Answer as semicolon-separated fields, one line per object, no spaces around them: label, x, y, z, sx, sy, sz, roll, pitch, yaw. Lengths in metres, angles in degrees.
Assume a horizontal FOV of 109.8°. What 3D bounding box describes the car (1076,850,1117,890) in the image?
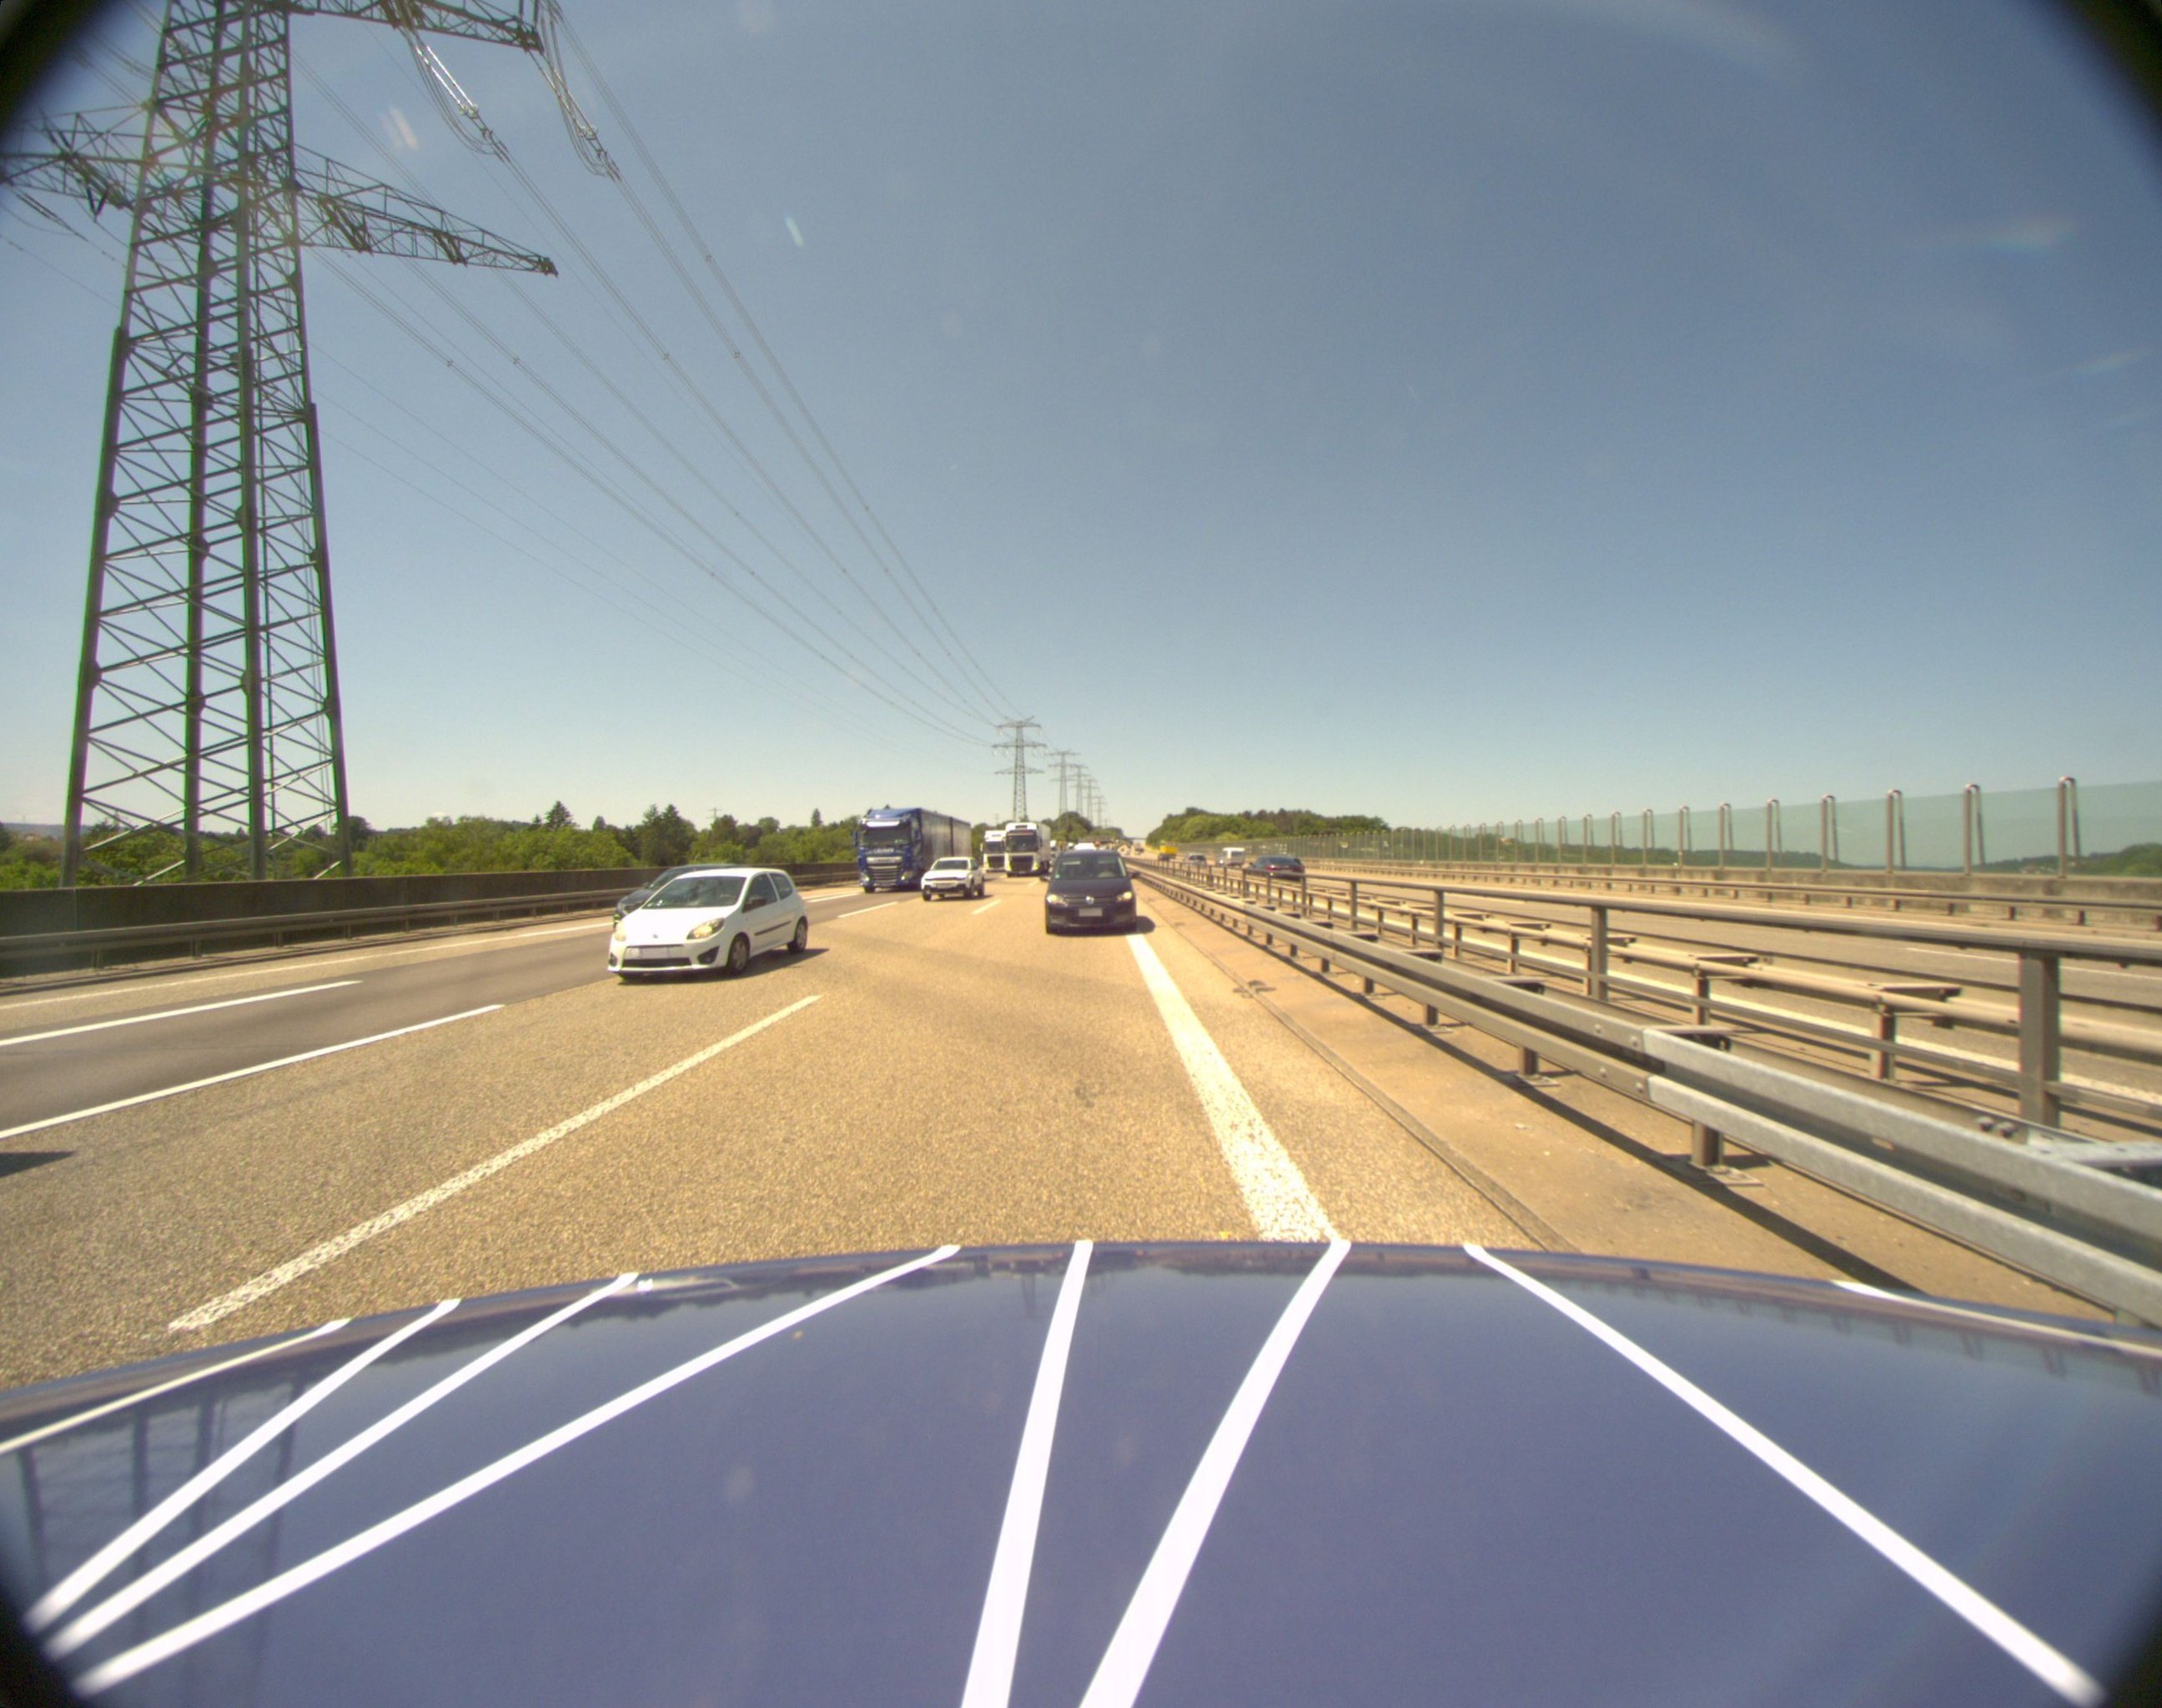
car;0.645;0.651;33.502;1.685;1.607;3.642;-2;0;0

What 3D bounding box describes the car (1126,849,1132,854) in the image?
car;15.254;-0.820;241.127;1.762;1.440;4.286;1;1;0

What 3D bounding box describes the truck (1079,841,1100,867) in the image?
truck;0.898;-0.031;81.921;2.100;2.700;5.864;-2;1;1

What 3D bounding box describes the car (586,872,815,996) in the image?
car;-5.478;1.060;11.501;1.584;1.432;3.629;-2;0;0

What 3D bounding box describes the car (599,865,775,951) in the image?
car;-8.300;1.062;16.439;1.709;1.497;3.888;-2;0;1

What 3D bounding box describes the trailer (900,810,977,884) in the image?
trailer;-8.558;-0.466;47.201;2.543;3.971;10.883;-2;1;0

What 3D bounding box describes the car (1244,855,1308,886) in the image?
car;9.035;0.731;35.593;1.901;1.307;4.371;0;0;1

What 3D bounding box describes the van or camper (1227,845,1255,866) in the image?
van or camper;18.023;0.131;85.746;1.998;2.199;5.536;1;1;0

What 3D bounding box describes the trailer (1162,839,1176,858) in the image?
trailer;20.176;-1.265;174.667;2.428;4.040;13.803;0;0;3

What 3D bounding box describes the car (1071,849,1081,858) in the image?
car;-1.003;-0.079;152.434;1.701;1.599;3.639;-2;1;1

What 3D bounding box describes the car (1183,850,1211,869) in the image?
car;9.661;0.424;63.309;1.845;1.520;3.558;0;0;1

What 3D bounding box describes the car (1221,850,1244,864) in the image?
car;18.007;0.376;90.647;1.860;1.536;4.200;1;1;0

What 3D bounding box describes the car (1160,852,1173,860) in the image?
car;14.840;0.351;131.987;1.860;1.389;4.675;0;0;1

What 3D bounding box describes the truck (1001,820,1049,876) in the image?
truck;-4.088;-0.481;57.117;2.914;3.870;6.739;-2;1;0

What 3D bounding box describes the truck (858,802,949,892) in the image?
truck;-8.595;-0.317;37.807;2.517;3.945;7.926;-2;0;0

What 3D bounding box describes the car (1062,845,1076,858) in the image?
car;-1.878;-0.434;119.756;1.998;2.002;3.999;-2;1;1

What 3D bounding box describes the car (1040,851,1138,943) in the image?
car;0.143;0.776;15.761;1.739;1.607;3.911;-2;0;0

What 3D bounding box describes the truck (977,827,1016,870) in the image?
truck;-8.272;-0.579;74.800;2.914;3.870;6.739;-2;1;0

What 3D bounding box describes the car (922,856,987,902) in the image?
car;-4.616;0.880;28.209;1.722;1.526;3.753;-2;0;0

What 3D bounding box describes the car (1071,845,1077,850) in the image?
car;-2.073;-2.034;234.873;1.701;1.599;3.639;-2;1;1

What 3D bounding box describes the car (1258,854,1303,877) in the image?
car;12.742;0.696;48.824;1.805;1.378;4.262;0;1;1

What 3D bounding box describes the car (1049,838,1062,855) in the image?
car;-5.088;-1.524;150.446;2.273;3.304;6.288;-2;1;0

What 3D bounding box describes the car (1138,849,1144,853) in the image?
car;19.398;-0.997;246.539;1.767;1.374;4.078;0;0;0

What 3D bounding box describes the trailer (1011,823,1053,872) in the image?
trailer;-4.086;-0.599;65.394;2.898;3.847;9.772;-2;1;0
